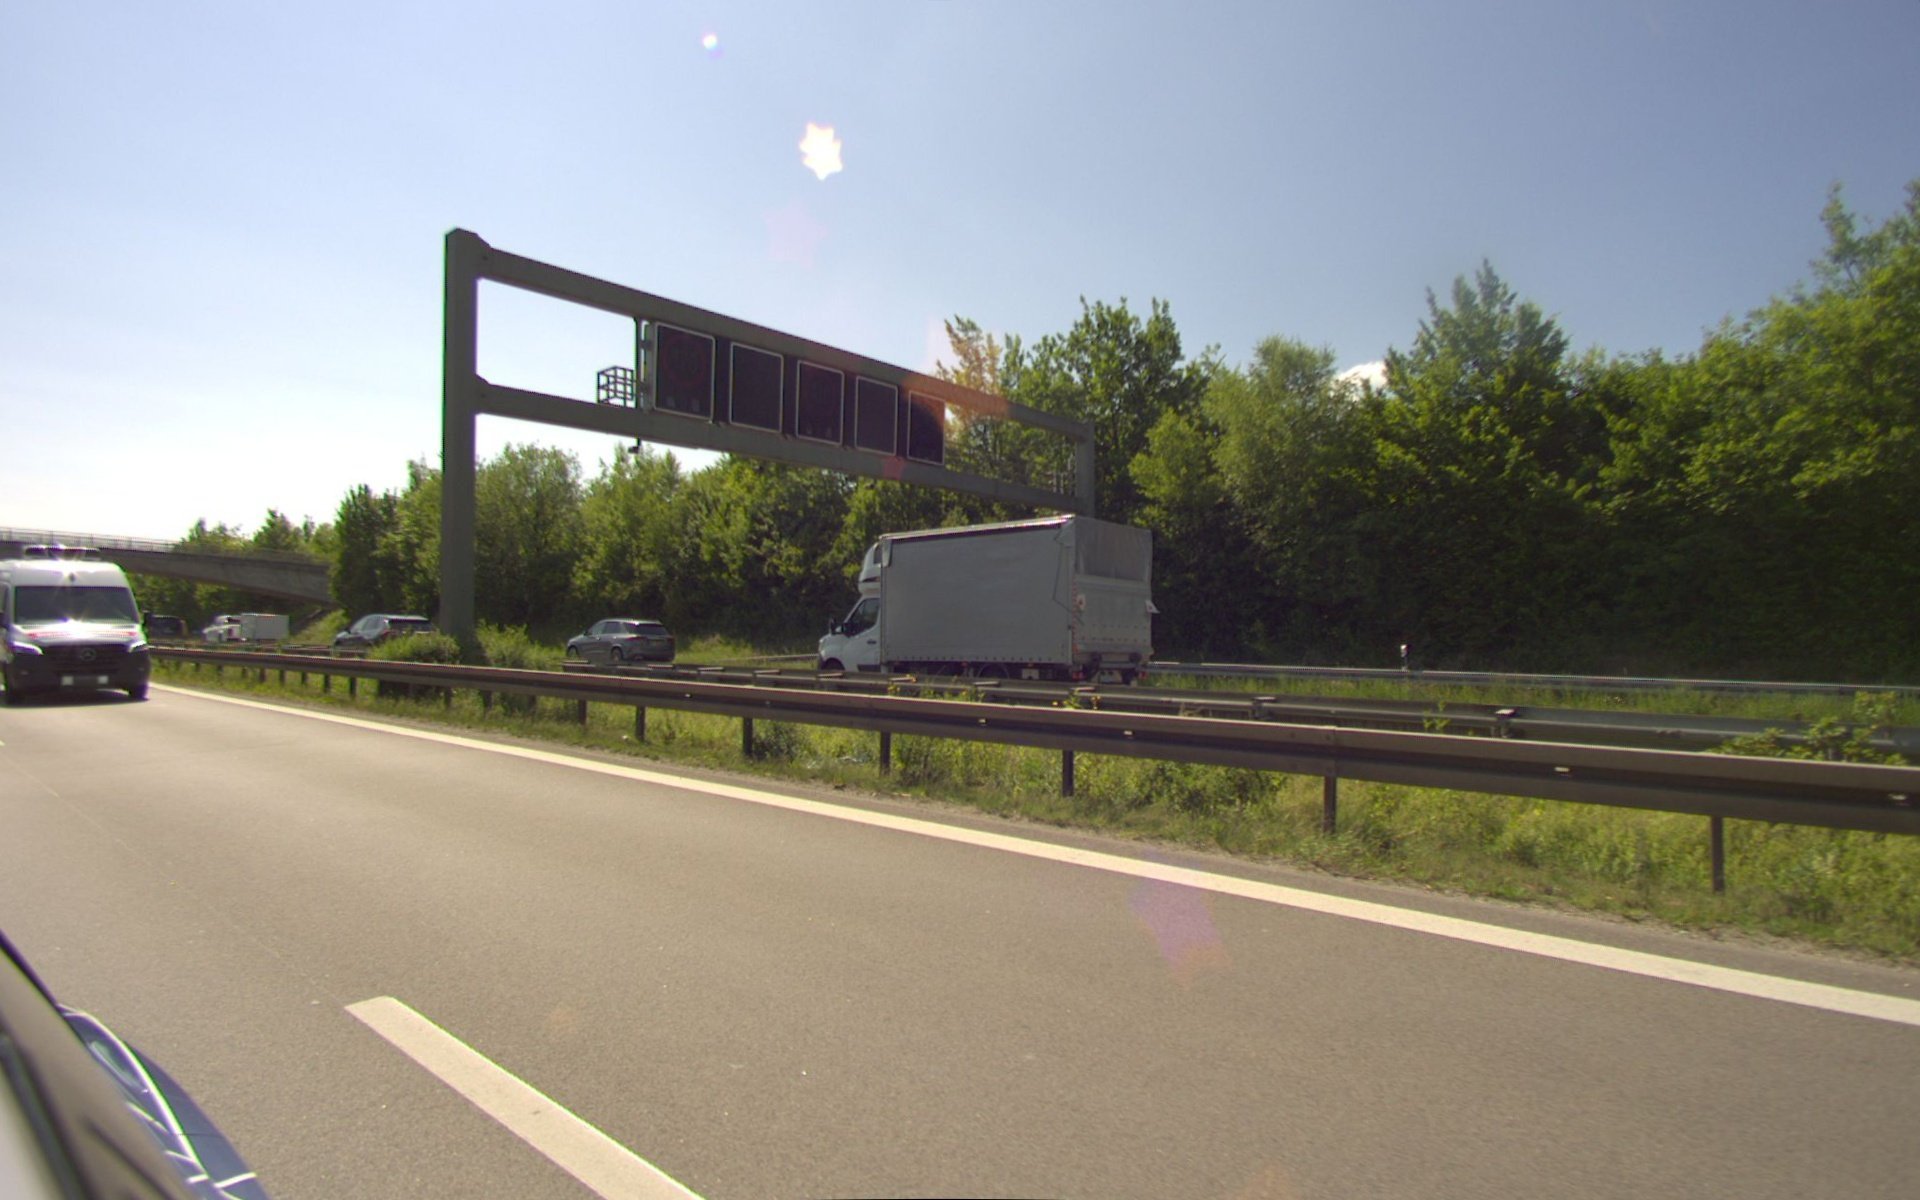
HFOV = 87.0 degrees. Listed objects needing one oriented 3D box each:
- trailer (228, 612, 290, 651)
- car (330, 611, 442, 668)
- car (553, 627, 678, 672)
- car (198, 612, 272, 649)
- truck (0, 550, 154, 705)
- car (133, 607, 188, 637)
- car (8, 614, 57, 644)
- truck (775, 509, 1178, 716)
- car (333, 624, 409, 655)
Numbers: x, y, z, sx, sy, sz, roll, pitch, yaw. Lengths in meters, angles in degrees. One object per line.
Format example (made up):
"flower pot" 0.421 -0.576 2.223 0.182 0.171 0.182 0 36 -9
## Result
"trailer" -34.568 1.533 49.867 3.920 1.848 1.603 0 -2 41
"car" -17.763 1.219 31.259 4.058 1.630 1.760 -2 -3 41
"car" -12.275 1.722 35.878 5.062 1.476 1.882 -1 -3 41
"car" -37.698 1.541 52.569 5.124 1.818 1.973 0 -1 41
"truck" -17.688 0.522 19.675 6.688 2.562 1.973 -1 -2 41
"car" -53.676 1.498 67.903 5.194 1.927 1.973 -1 -3 41
"car" -94.690 2.959 103.277 6.988 2.992 2.521 -1 -3 38
"truck" 0.019 0.286 19.947 8.053 3.330 2.750 -1 -2 41
"car" -29.967 1.979 51.431 4.530 1.453 1.973 0 -1 41
